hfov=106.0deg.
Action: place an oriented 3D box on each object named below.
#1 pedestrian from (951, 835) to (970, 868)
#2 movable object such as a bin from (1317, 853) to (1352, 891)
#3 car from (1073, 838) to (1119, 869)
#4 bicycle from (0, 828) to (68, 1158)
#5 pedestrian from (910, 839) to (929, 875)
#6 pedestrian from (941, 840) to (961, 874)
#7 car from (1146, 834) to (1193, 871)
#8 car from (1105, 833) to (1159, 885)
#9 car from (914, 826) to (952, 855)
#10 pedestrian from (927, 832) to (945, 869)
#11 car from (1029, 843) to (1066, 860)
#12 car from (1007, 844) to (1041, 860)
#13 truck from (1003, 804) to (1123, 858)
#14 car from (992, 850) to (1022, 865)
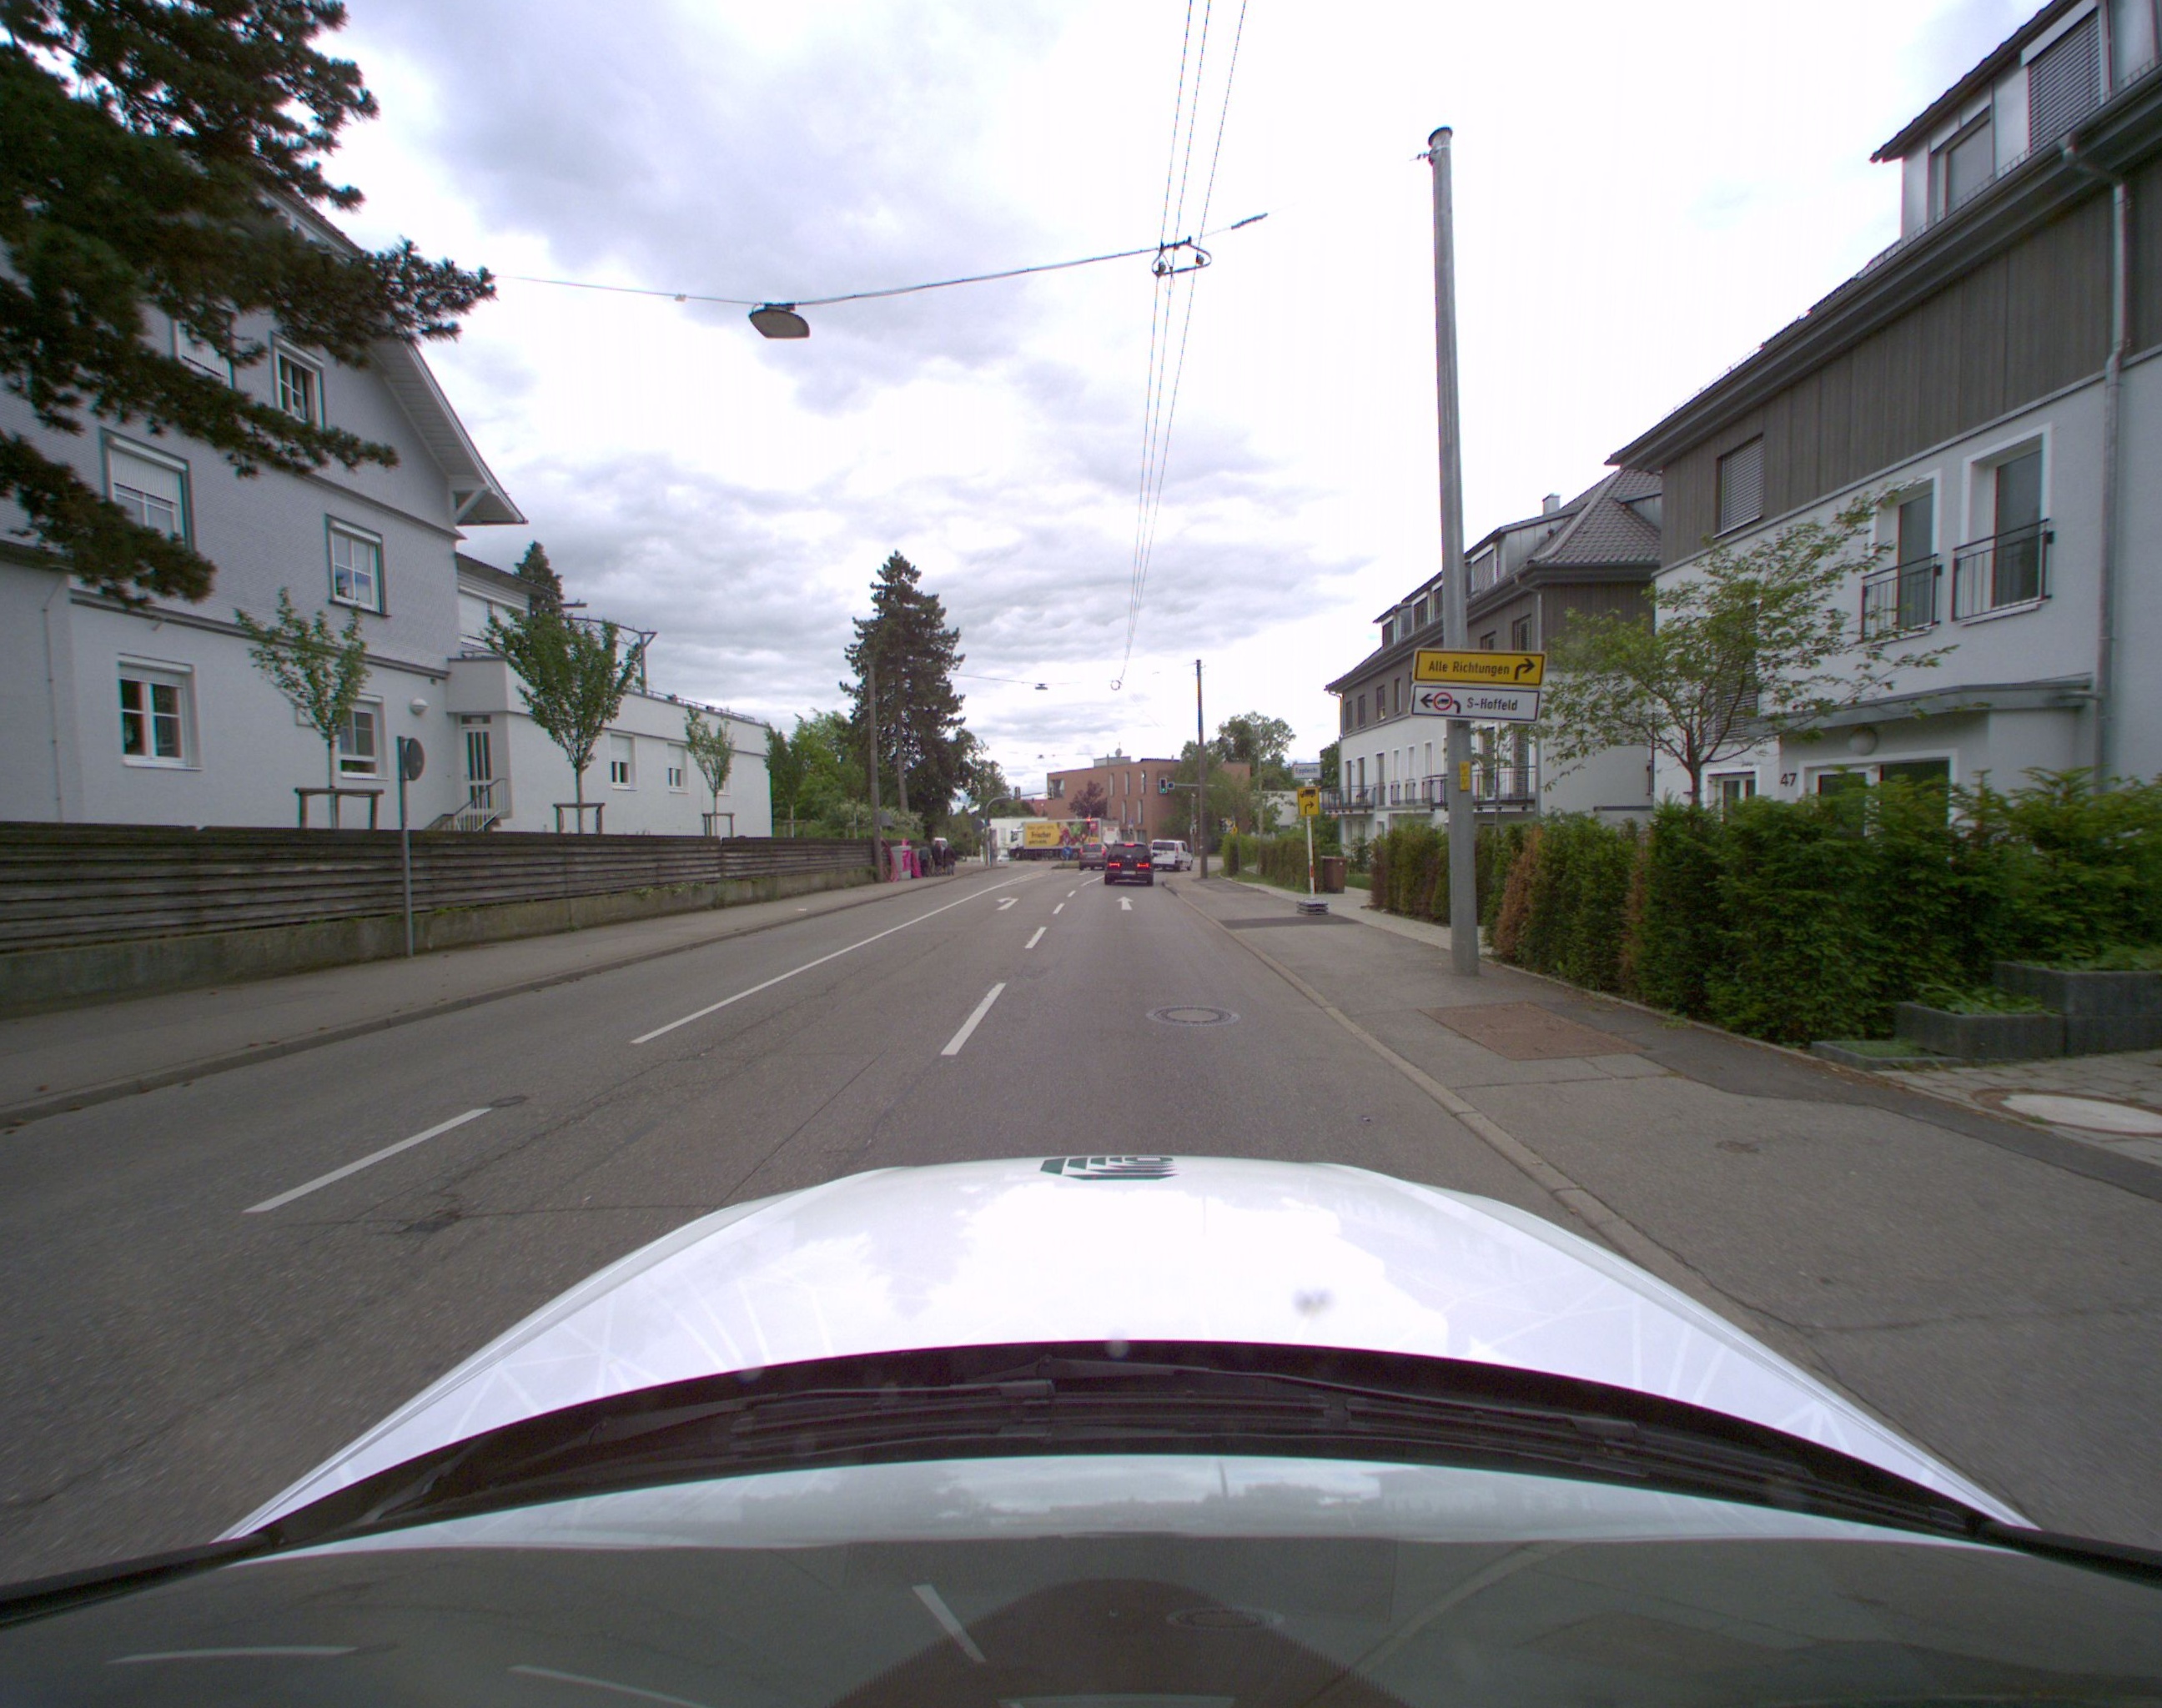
[{"bbox_3d":[-6.376,-0.149,43.154,0.872,1.753,0.689,0,0,-22],"label":"pedestrian"},{"bbox_3d":[7.423,0.517,23.855,0.719,1.073,0.675,1,0,-35],"label":"movable object such as a bin"},{"bbox_3d":[0.945,-0.044,48.139,1.880,1.706,4.015,-1,1,13],"label":"car"},{"bbox_3d":[-6.145,0.758,3.653,0.756,1.744,1.872,-2,0,1],"label":"bicycle"},{"bbox_3d":[-8.203,0.137,41.386,0.818,1.763,0.861,-1,1,-21],"label":"pedestrian"},{"bbox_3d":[-6.846,0.161,42.898,0.757,1.734,0.687,-1,1,-44],"label":"pedestrian"},{"bbox_3d":[5.529,-0.145,50.202,1.946,2.013,4.449,3,2,18],"label":"car"},{"bbox_3d":[1.985,0.171,32.582,1.986,1.881,4.002,2,1,2],"label":"car"},{"bbox_3d":[-12.051,-1.081,65.887,2.286,2.227,6.434,-1,1,-17],"label":"car"},{"bbox_3d":[-7.412,-0.187,41.636,0.754,1.837,0.609,-1,1,-27],"label":"pedestrian"},{"bbox_3d":[-4.098,-0.281,98.469,4.008,2.013,1.983,-1,1,-27],"label":"car"},{"bbox_3d":[-7.368,-0.302,105.572,4.008,2.013,1.983,-2,1,-26],"label":"car"},{"bbox_3d":[-1.835,-2.049,75.842,11.642,4.734,3.156,0,1,36],"label":"truck"},{"bbox_3d":[-10.510,0.430,115.799,3.993,2.013,1.990,-1,1,-15],"label":"car"}]
